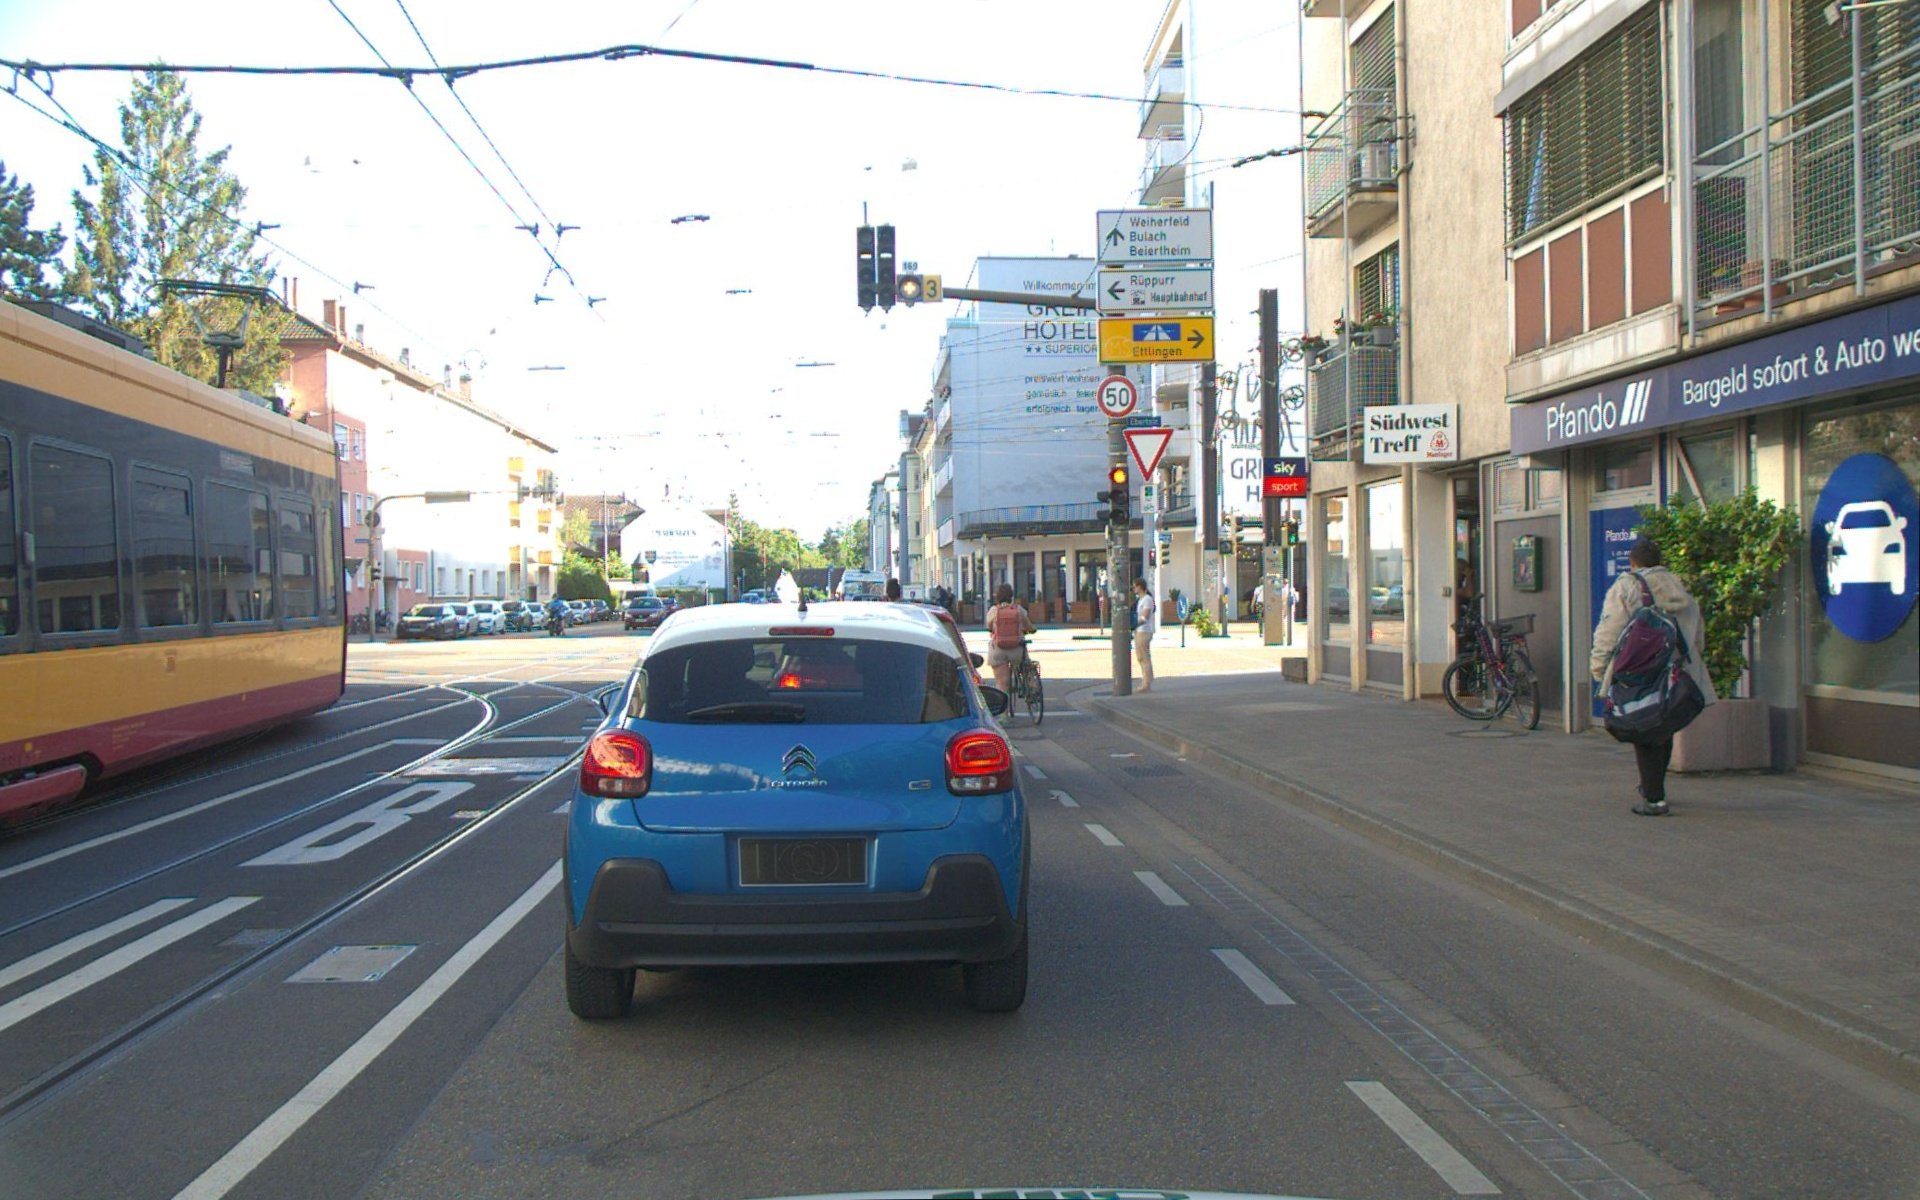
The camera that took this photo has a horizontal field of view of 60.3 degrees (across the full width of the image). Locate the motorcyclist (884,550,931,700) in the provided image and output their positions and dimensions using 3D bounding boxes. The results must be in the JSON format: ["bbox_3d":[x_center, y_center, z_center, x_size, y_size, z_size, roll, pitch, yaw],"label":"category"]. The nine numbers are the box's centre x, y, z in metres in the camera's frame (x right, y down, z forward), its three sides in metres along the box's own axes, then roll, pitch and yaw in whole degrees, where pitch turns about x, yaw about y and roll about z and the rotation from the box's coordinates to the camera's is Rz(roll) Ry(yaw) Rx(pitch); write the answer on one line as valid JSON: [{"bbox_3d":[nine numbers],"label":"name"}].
[{"bbox_3d":[-0.616,0.293,19.620,0.516,1.746,0.717,1,-1,-1],"label":"motorcyclist"}]

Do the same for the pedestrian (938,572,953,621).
[{"bbox_3d":[-0.626,-0.158,70.167,0.565,2.049,0.625,1,-1,-3],"label":"pedestrian"}]

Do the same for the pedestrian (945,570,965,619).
[{"bbox_3d":[-0.214,-0.230,70.867,0.697,2.049,0.756,1,-1,-15],"label":"pedestrian"}]

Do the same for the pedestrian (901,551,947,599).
[{"bbox_3d":[-1.603,-1.082,73.538,1.953,2.049,3.999,1,0,-1],"label":"pedestrian"}]

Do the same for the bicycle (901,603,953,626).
[{"bbox_3d":[-1.364,0.584,67.588,2.093,0.917,0.366,1,-1,-10],"label":"bicycle"}]

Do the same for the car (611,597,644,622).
[{"bbox_3d":[-24.297,0.699,120.851,1.809,1.716,3.871,1,0,-4],"label":"car"}]

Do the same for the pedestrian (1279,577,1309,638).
[{"bbox_3d":[9.410,0.207,46.597,0.736,1.686,0.884,1,-1,15],"label":"pedestrian"}]

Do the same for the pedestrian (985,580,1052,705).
[{"bbox_3d":[0.712,0.515,20.242,0.761,1.486,0.681,1,-1,-1],"label":"pedestrian"}]

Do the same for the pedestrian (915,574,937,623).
[{"bbox_3d":[-1.422,-0.065,69.152,0.625,2.049,0.715,1,-1,-36],"label":"pedestrian"}]

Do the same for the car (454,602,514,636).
[{"bbox_3d":[-22.655,0.875,78.881,1.751,1.537,4.148,1,0,-2],"label":"car"}]

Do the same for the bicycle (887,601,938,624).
[{"bbox_3d":[-1.967,0.503,68.312,2.093,0.917,0.366,1,-1,-10],"label":"bicycle"}]

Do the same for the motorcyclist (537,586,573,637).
[{"bbox_3d":[-16.414,0.459,66.996,1.162,2.049,1.274,-1,0,-4],"label":"motorcyclist"}]

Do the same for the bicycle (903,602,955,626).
[{"bbox_3d":[-1.256,0.573,67.159,2.093,0.917,0.366,1,-1,-10],"label":"bicycle"}]

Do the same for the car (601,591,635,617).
[{"bbox_3d":[-24.010,0.282,116.266,1.797,1.716,3.997,1,0,-4],"label":"car"}]

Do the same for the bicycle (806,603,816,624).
[{"bbox_3d":[-6.620,0.607,73.491,0.342,0.919,1.858,1,0,-3],"label":"bicycle"}]

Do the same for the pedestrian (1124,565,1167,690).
[{"bbox_3d":[2.728,0.399,24.348,0.507,1.814,0.595,1,-1,-3],"label":"pedestrian"}]

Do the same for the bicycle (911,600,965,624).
[{"bbox_3d":[-0.871,0.487,65.936,2.093,0.917,0.366,1,-1,-10],"label":"bicycle"}]

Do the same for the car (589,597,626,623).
[{"bbox_3d":[-23.548,0.670,110.720,1.845,1.716,3.997,1,0,-4],"label":"car"}]

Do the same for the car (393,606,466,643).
[{"bbox_3d":[-21.919,1.004,68.473,1.757,1.446,3.994,1,0,-2],"label":"car"}]

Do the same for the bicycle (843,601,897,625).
[{"bbox_3d":[-3.604,0.528,66.179,2.093,0.917,0.366,1,-1,-10],"label":"bicycle"}]

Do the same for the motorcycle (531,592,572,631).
[{"bbox_3d":[-16.437,0.456,66.644,0.905,1.512,3.723,1,0,-4],"label":"motorcycle"}]

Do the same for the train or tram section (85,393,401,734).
[{"bbox_3d":[-9.387,-0.391,22.699,2.780,3.694,9.043,1,0,-16],"label":"train or tram section"}]

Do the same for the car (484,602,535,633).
[{"bbox_3d":[-23.307,0.893,85.669,1.750,1.524,3.997,1,0,-4],"label":"car"}]

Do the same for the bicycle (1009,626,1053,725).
[{"bbox_3d":[0.868,0.910,20.531,0.419,1.142,1.998,1,0,-1],"label":"bicycle"}]

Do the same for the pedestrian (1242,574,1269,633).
[{"bbox_3d":[8.409,0.100,47.008,0.720,1.629,0.749,1,-1,12],"label":"pedestrian"}]

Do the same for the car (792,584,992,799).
[{"bbox_3d":[-0.504,0.656,13.199,1.395,1.493,2.923,-1,0,-1],"label":"car"}]

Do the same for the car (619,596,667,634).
[{"bbox_3d":[-14.561,0.684,76.160,1.740,1.695,3.853,1,0,-4],"label":"car"}]

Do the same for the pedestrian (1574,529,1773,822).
[{"bbox_3d":[4.119,0.421,9.597,0.808,1.620,0.751,1,-1,-1],"label":"pedestrian"}]

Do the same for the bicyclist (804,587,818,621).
[{"bbox_3d":[-6.627,0.187,73.692,0.549,1.503,0.748,1,-1,-1],"label":"bicyclist"}]

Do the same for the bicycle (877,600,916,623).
[{"bbox_3d":[-2.672,0.483,69.394,1.751,0.917,0.365,1,-1,34],"label":"bicycle"}]

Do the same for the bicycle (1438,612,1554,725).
[{"bbox_3d":[5.097,0.626,15.823,0.531,1.016,1.705,1,0,-1],"label":"bicycle"}]

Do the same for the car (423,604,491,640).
[{"bbox_3d":[-22.377,0.948,73.726,1.778,1.524,4.299,1,0,-1],"label":"car"}]

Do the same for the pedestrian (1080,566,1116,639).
[{"bbox_3d":[3.920,0.073,47.007,0.907,2.049,0.759,1,-1,-1],"label":"pedestrian"}]

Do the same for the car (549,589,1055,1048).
[{"bbox_3d":[-0.537,0.721,7.150,1.620,1.469,3.522,1,0,-1],"label":"car"}]

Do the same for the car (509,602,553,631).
[{"bbox_3d":[-23.752,0.909,91.730,1.699,1.524,3.996,1,0,-5],"label":"car"}]

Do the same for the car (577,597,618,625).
[{"bbox_3d":[-23.219,0.691,105.934,1.944,1.716,3.997,1,0,-4],"label":"car"}]

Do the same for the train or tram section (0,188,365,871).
[{"bbox_3d":[-7.174,-0.376,12.054,3.006,3.656,12.603,-1,0,-9],"label":"train or tram section"}]

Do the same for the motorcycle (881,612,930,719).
[{"bbox_3d":[-0.624,0.735,19.430,0.515,1.159,2.289,1,0,-1],"label":"motorcycle"}]
